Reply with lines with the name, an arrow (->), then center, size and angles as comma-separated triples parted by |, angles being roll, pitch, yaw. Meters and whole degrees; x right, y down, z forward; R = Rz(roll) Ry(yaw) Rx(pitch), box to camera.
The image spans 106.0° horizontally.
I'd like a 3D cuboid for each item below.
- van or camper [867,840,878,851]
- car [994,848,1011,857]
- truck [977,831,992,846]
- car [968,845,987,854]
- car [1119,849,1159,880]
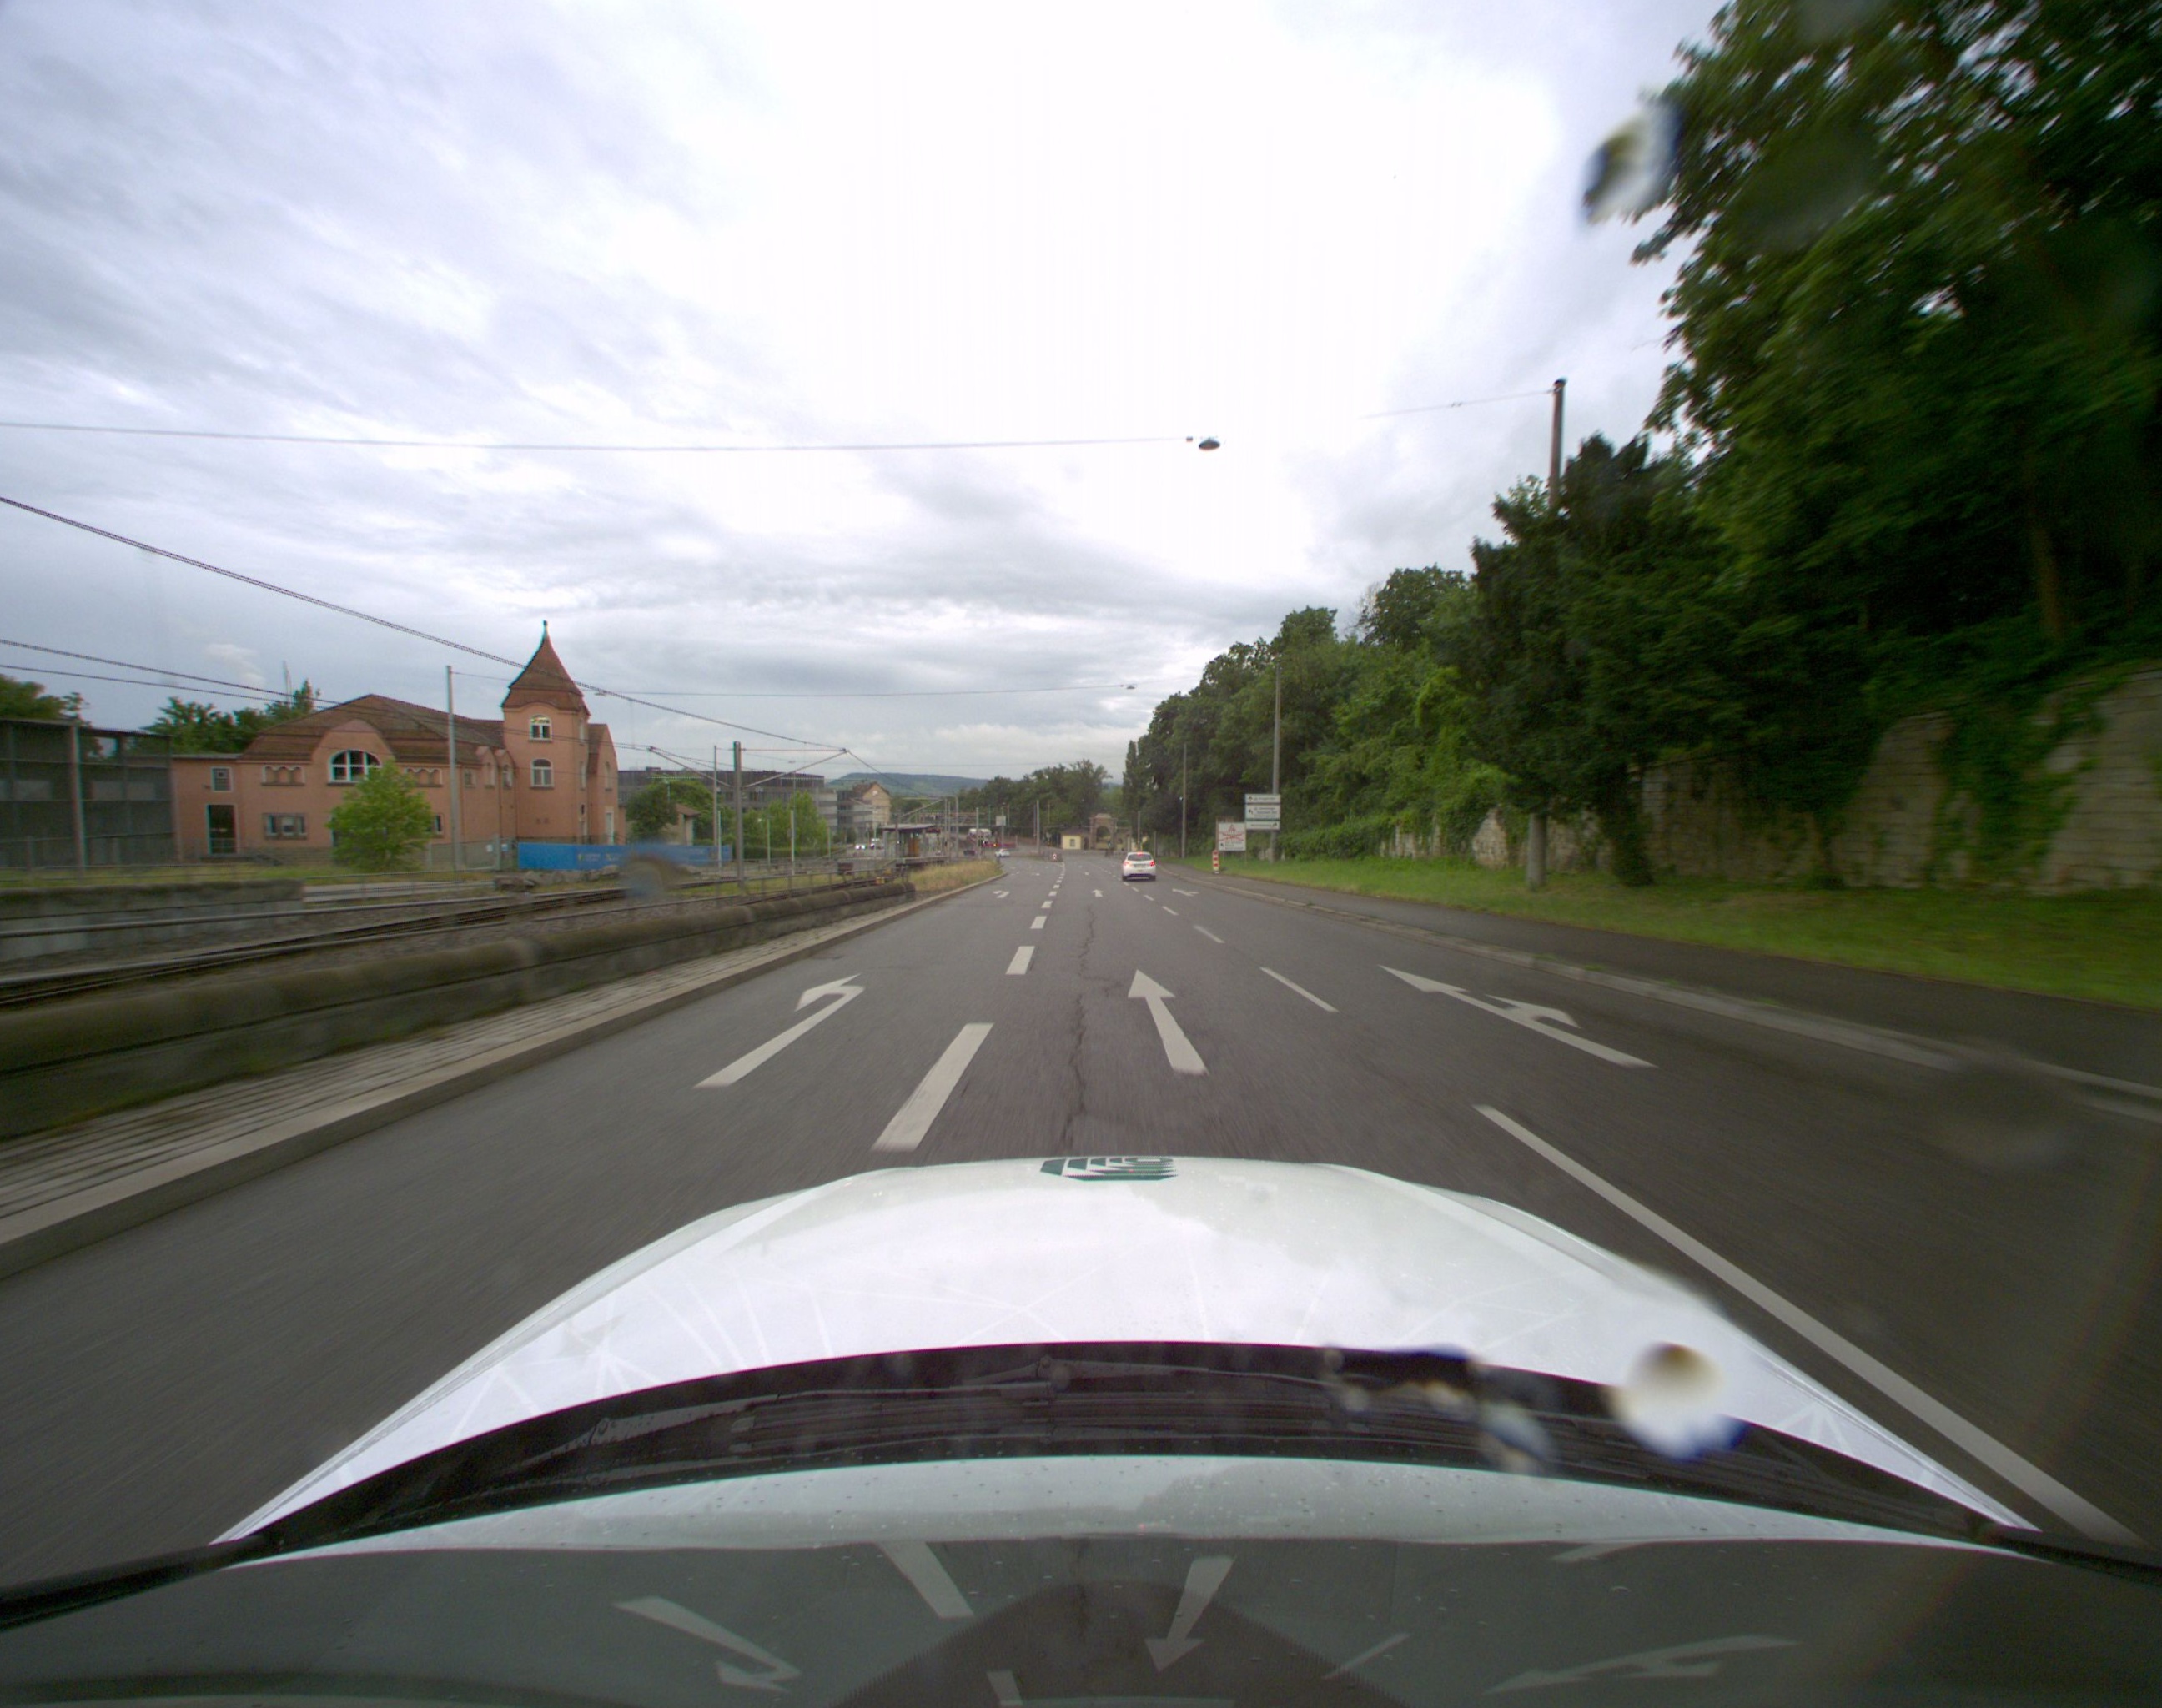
van or camper -> -49.574, -1.977, 193.447 | 1.993, 2.344, 3.988 | -2, 0, -9
car -> -14.017, -0.280, 145.252 | 1.829, 1.606, 3.971 | -2, 1, -21
truck -> -31.059, -5.014, 262.403 | 3.418, 4.570, 11.234 | 3, 0, -14
car -> -19.928, -0.854, 156.255 | 2.008, 1.706, 3.958 | 0, 0, -34
car -> 3.003, 0.517, 42.783 | 1.861, 1.511, 3.901 | -2, 0, 1
